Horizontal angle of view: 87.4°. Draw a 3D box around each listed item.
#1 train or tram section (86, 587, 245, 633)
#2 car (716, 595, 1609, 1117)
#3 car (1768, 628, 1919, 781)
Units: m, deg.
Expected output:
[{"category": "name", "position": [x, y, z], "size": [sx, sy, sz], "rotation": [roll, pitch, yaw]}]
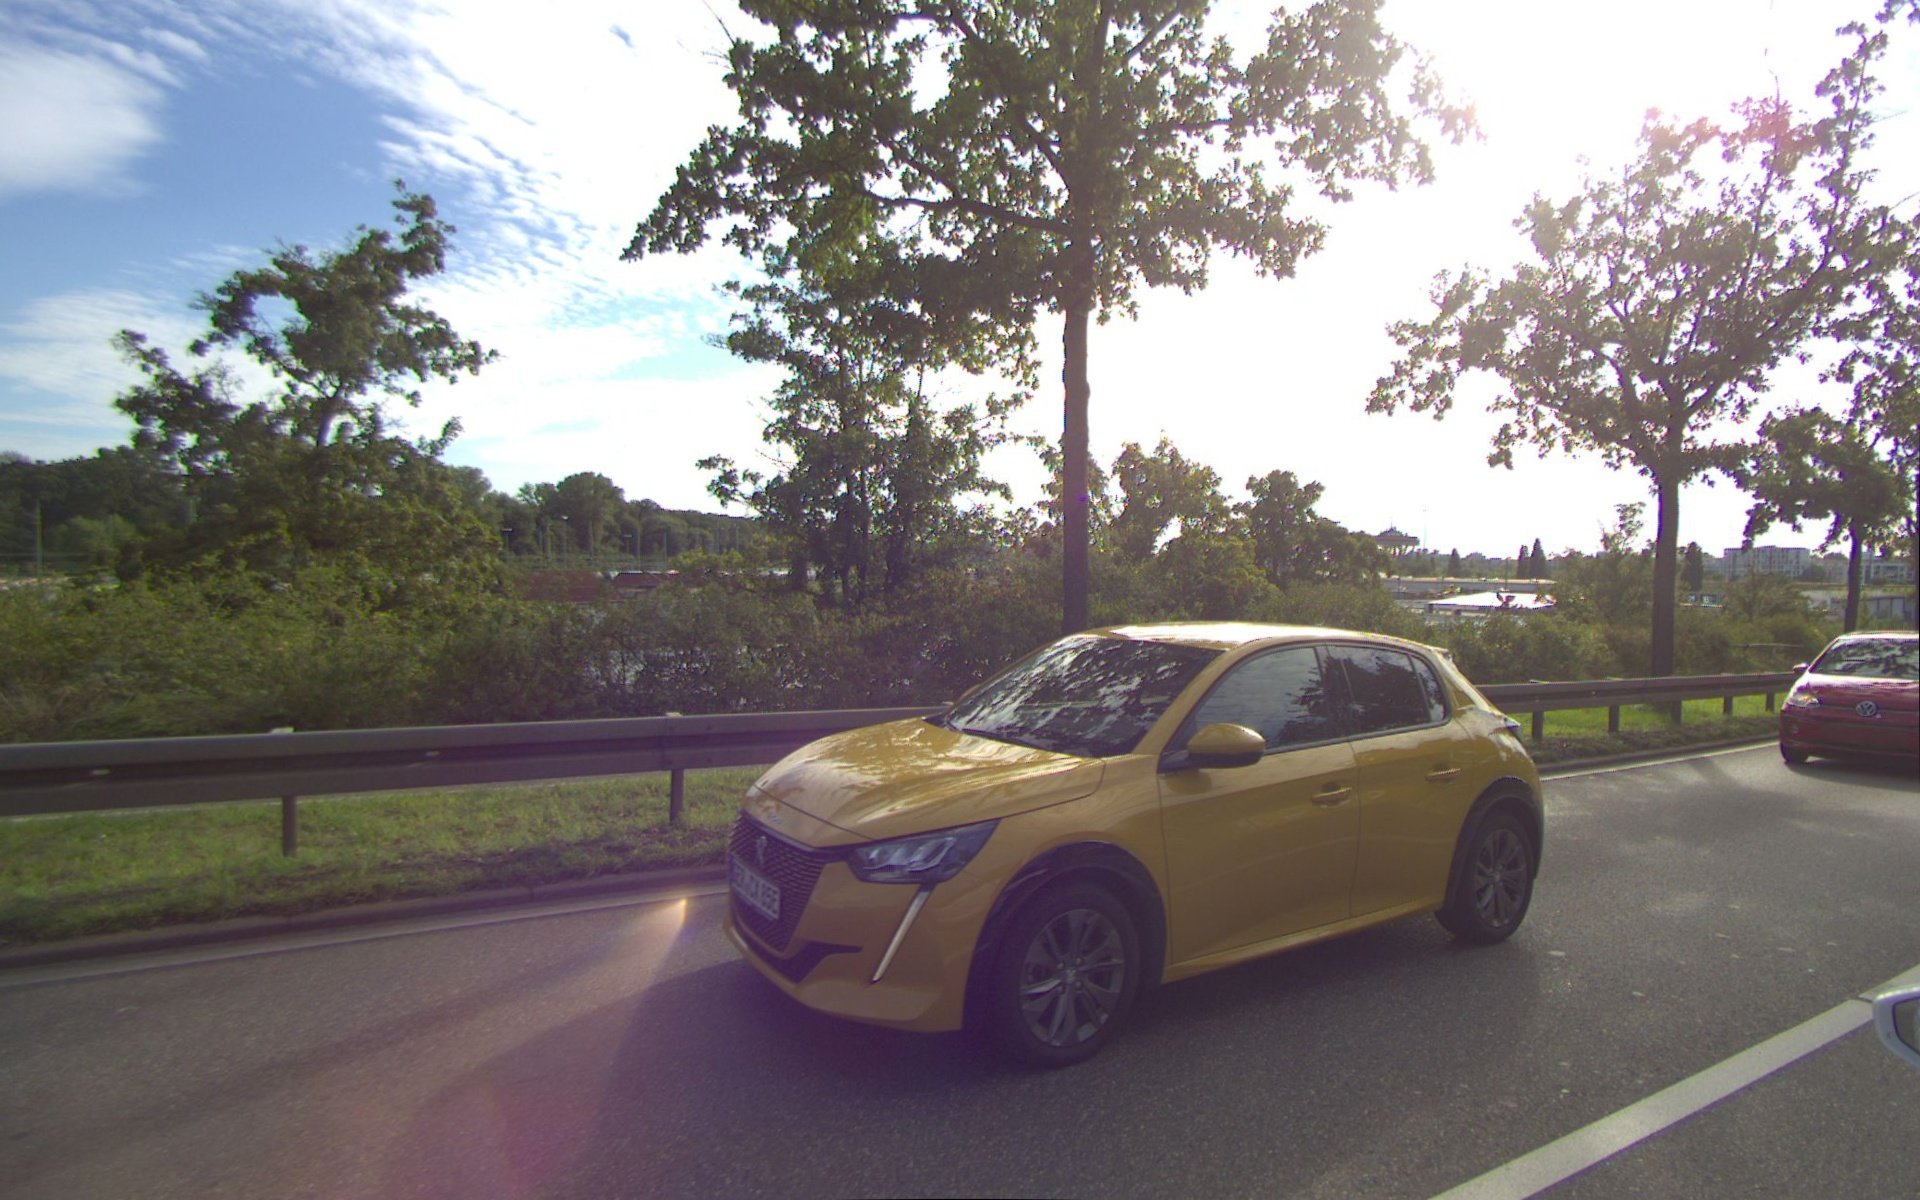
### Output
[{"category": "train or tram section", "position": [-91.689, 1.095, 116.731], "size": [3.034, 4.775, 16.759], "rotation": [2, 0, 9]}, {"category": "car", "position": [1.048, 0.763, 4.599], "size": [3.830, 1.444, 1.789], "rotation": [2, 0, -32]}, {"category": "car", "position": [10.704, 1.080, 11.298], "size": [3.554, 1.444, 1.557], "rotation": [1, 1, -35]}]
